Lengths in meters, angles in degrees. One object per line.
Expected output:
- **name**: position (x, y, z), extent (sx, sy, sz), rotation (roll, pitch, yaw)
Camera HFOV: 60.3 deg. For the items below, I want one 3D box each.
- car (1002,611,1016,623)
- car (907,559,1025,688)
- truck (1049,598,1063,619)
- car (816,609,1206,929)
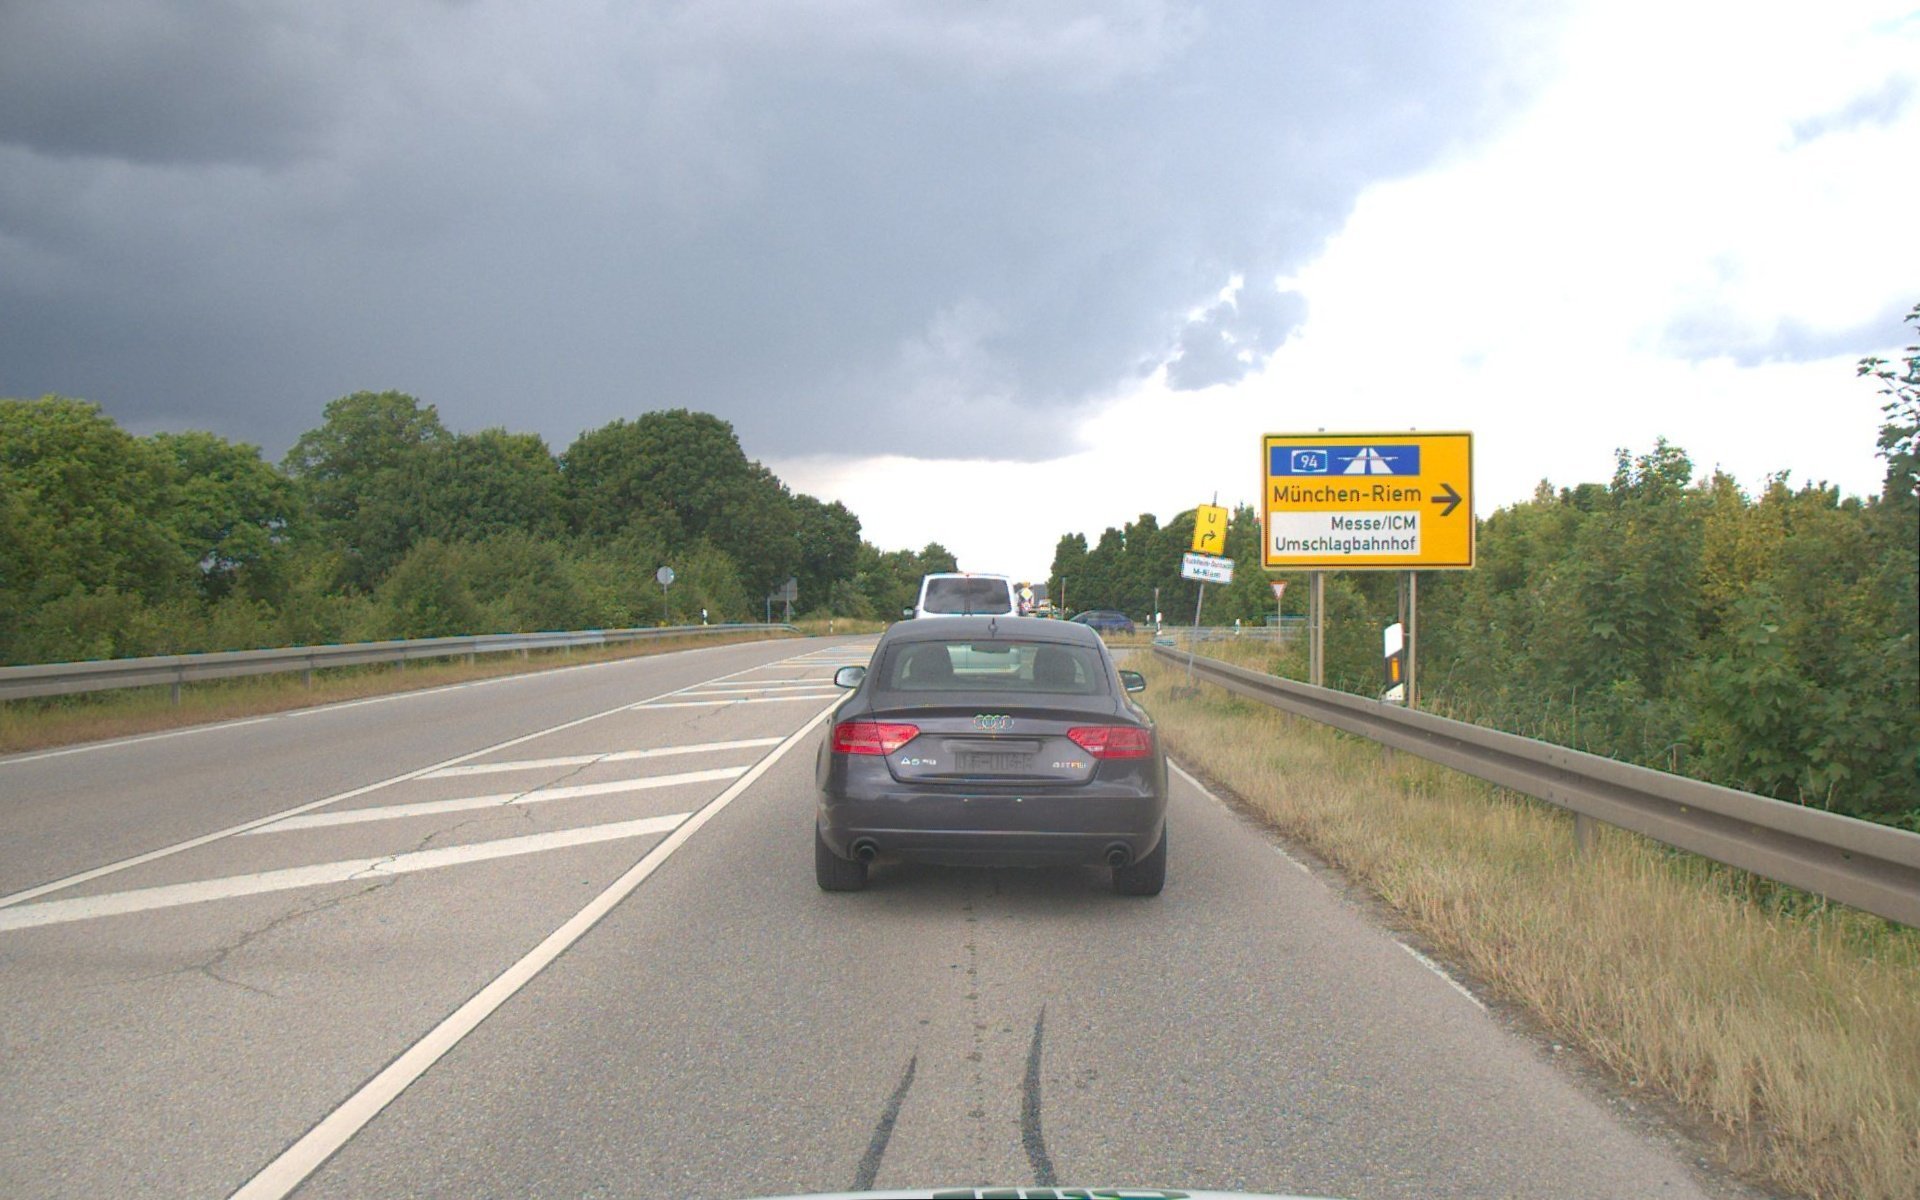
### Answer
- **car**: position (6.580, 2.231, 221.775), extent (1.699, 1.479, 3.999), rotation (1, 0, -1)
- **car**: position (0.075, 0.377, 28.606), extent (1.871, 2.049, 3.999), rotation (1, 0, -1)
- **truck**: position (14.228, 1.263, 244.787), extent (1.952, 2.969, 5.795), rotation (1, 0, 3)
- **car**: position (0.210, 0.771, 9.106), extent (1.743, 1.423, 3.336), rotation (0, 0, -1)
